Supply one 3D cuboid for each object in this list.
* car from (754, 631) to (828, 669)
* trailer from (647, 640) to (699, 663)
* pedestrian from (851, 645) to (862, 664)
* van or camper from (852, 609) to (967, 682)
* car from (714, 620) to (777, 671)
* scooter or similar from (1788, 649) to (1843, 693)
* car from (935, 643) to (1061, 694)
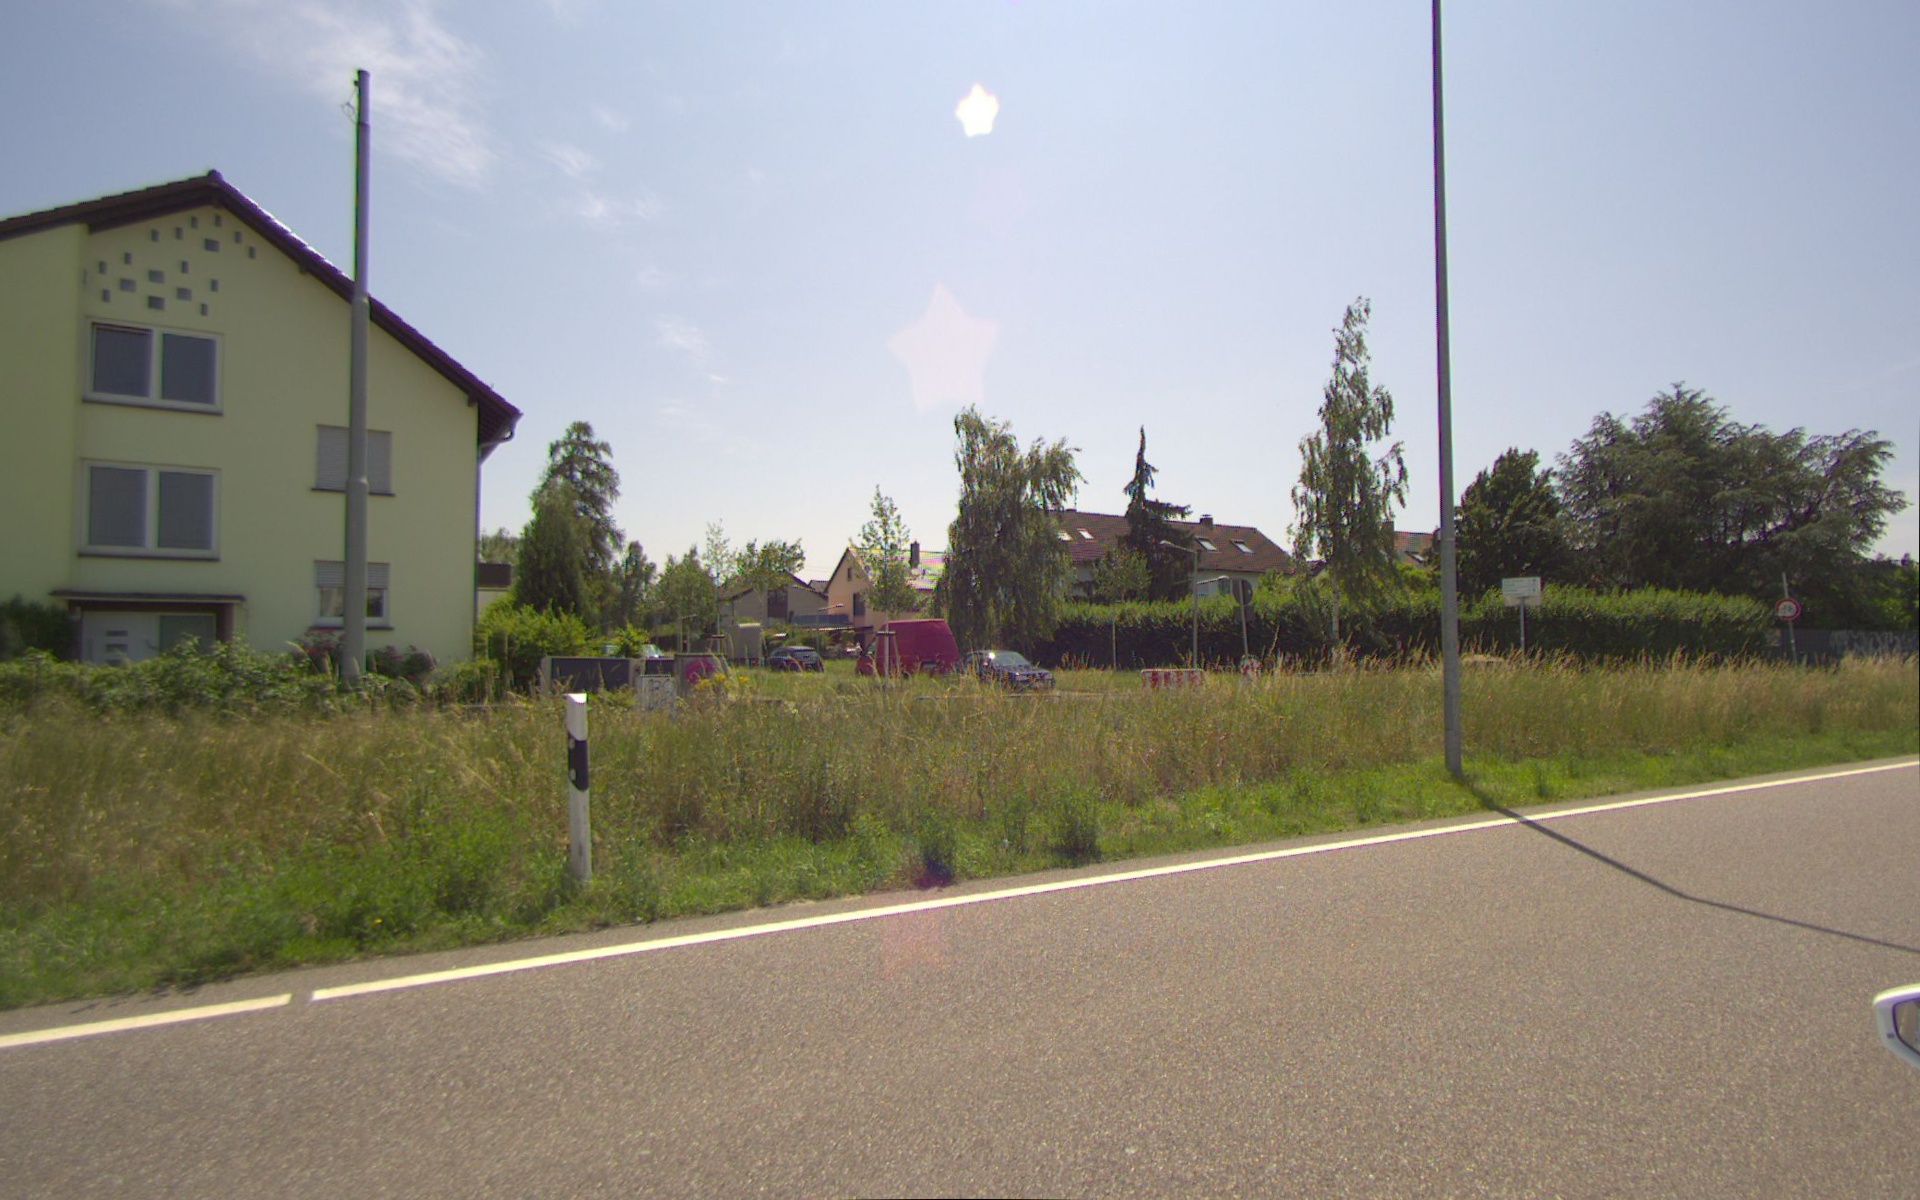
[{"bbox_3d":[-7.542,2.196,44.482,1.848,1.539,3.965,1,-1,-32],"label":"car"},{"bbox_3d":[-17.404,3.100,60.831,1.848,1.241,4.448,2,-1,-32],"label":"trailer"},{"bbox_3d":[-6.982,3.675,67.869,0.535,1.315,0.563,1,-3,-32],"label":"pedestrian"},{"bbox_3d":[-1.883,1.548,35.553,1.978,2.419,4.727,1,-1,-33],"label":"van or camper"},{"bbox_3d":[-10.700,2.218,49.926,1.848,2.432,3.965,1,-1,-32],"label":"car"},{"bbox_3d":[23.023,1.896,27.033,0.643,1.142,1.010,1,-2,-38],"label":"scooter or similar"},{"bbox_3d":[1.102,2.048,30.896,1.978,1.372,3.964,2,-1,-33],"label":"car"}]
